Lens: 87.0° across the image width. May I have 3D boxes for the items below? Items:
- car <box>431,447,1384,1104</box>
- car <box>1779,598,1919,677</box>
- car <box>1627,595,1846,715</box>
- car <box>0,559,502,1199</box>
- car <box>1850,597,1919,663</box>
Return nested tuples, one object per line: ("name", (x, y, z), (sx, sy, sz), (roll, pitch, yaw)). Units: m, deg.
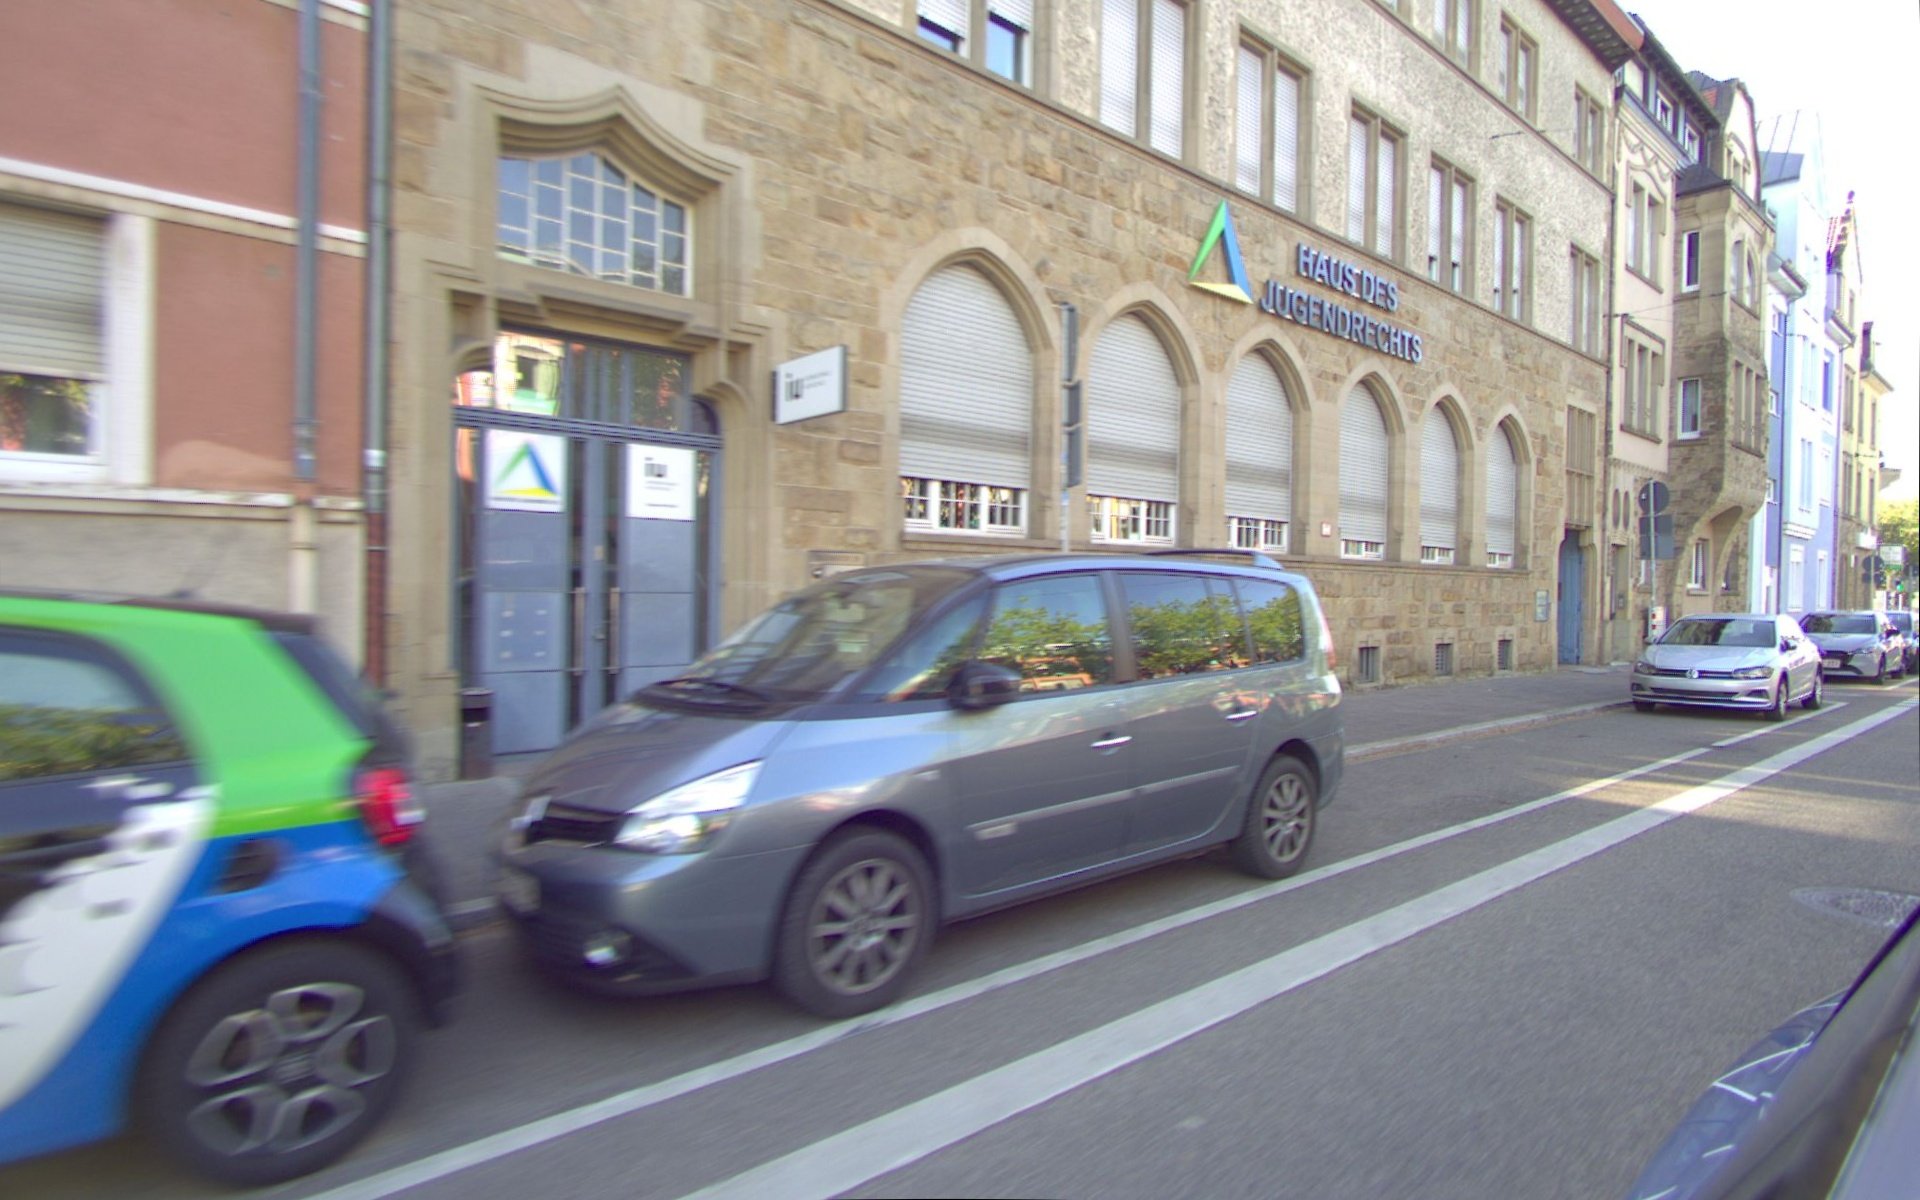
("car", (0.142, 0.491, 5.111), (4.730, 1.879, 1.756), (0, 0, -40))
("car", (19.033, 0.727, 21.479), (4.120, 1.520, 1.756), (0, -1, -39))
("car", (11.497, 0.703, 14.886), (4.151, 1.520, 1.717), (0, -1, -40))
("car", (-3.224, 0.683, 2.364), (3.650, 1.531, 1.635), (0, -1, -39))
("car", (23.298, 0.695, 24.862), (3.930, 1.501, 1.658), (0, 0, -41))
